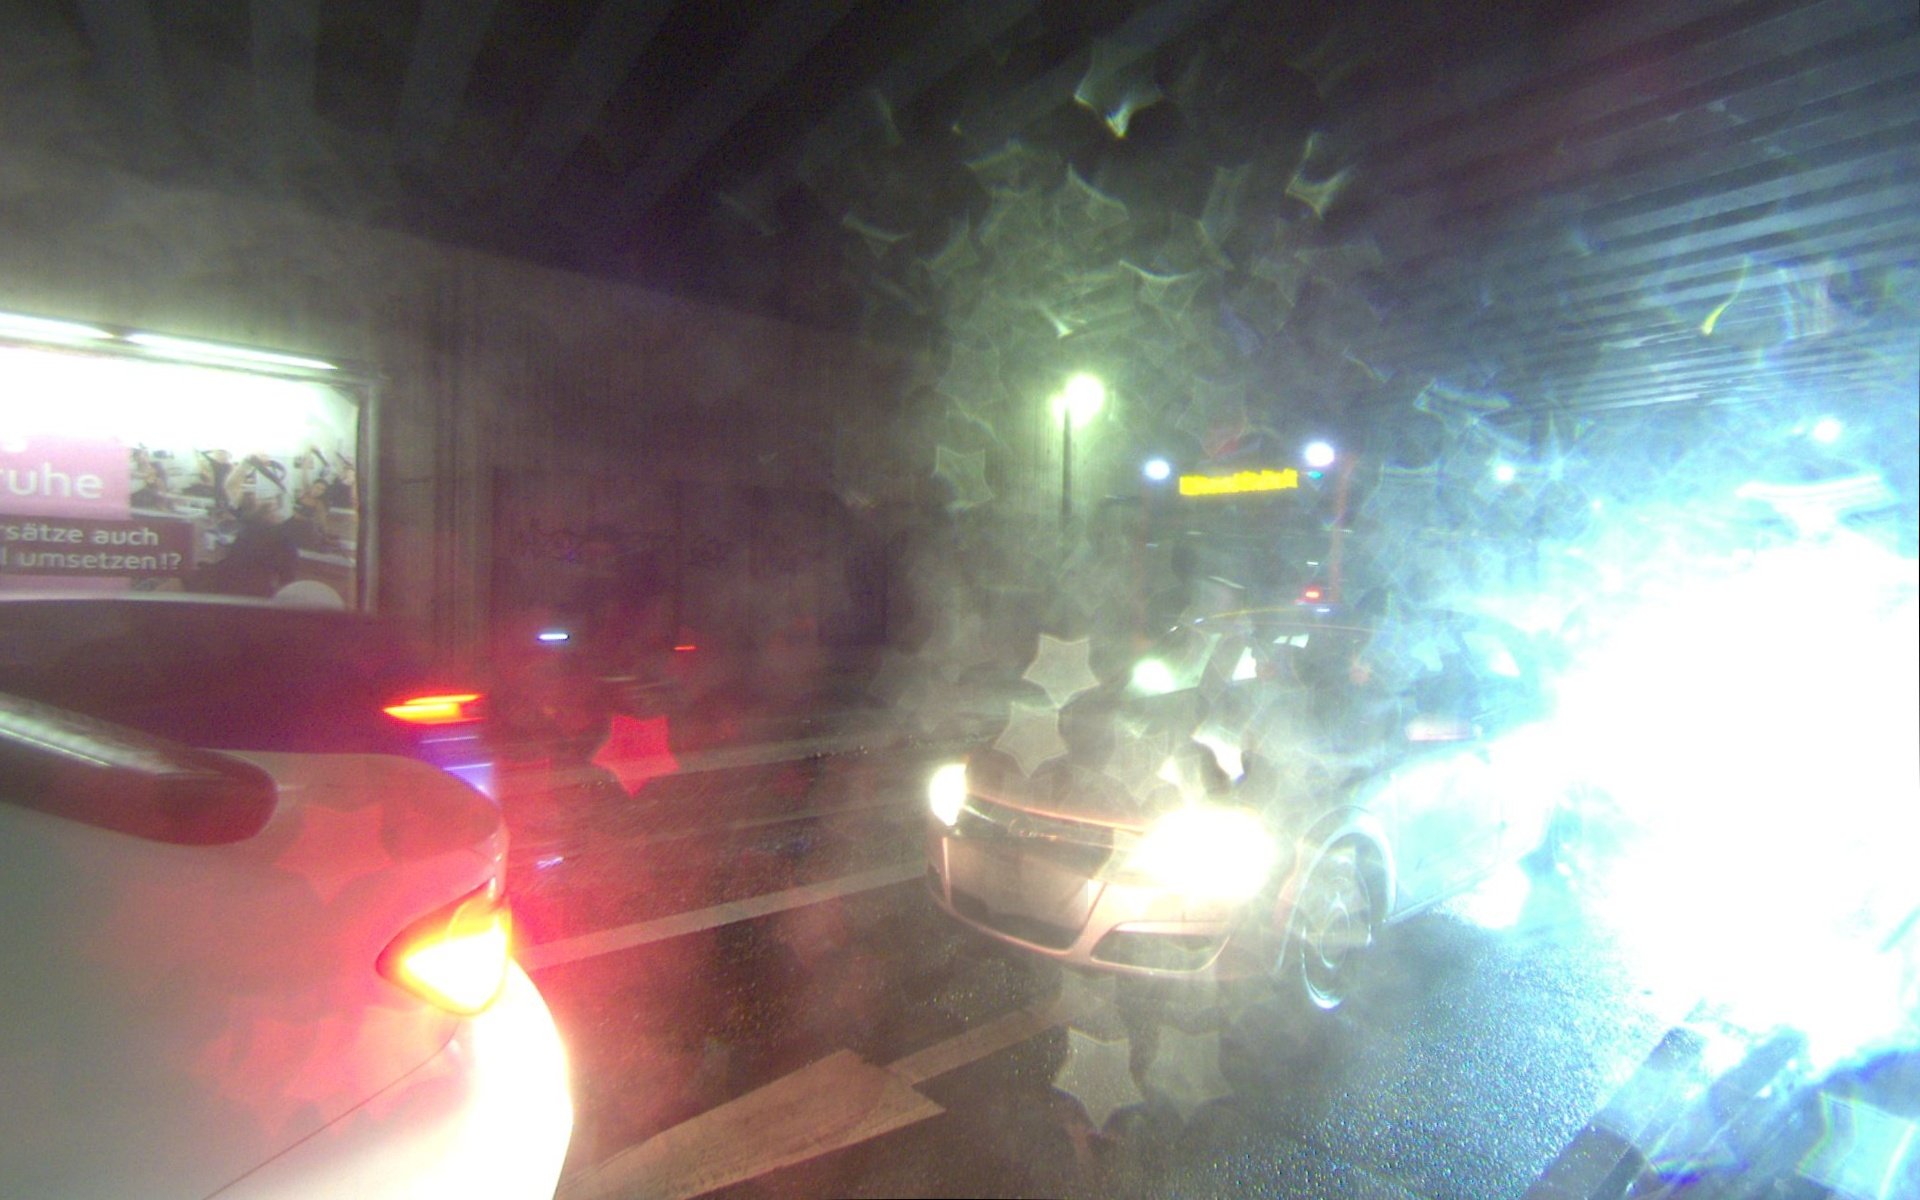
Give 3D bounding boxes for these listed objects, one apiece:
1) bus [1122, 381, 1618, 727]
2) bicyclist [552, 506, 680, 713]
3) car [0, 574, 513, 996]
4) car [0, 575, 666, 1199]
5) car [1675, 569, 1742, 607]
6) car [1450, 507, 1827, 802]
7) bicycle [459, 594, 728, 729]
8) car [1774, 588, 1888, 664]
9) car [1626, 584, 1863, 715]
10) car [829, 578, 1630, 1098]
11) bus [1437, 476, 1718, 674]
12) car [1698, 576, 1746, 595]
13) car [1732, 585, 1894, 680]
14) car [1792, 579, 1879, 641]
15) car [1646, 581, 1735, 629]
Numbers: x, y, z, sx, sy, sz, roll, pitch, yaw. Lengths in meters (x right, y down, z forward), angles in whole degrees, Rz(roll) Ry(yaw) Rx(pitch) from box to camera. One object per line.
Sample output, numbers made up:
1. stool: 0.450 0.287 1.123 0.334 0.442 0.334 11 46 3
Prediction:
1. bus: 6.144 -0.422 13.685 2.770 3.163 9.604 0 0 45
2. bicyclist: -3.169 0.079 9.318 0.885 1.784 0.798 0 0 -41
3. car: -3.988 0.621 4.013 3.699 1.449 1.751 -1 1 -45
4. car: -2.670 0.692 0.990 4.273 1.422 1.719 -1 0 -41
5. car: 31.313 -0.494 42.293 1.847 1.503 4.559 2 1 41
6. car: 6.469 0.368 9.453 4.274 2.115 1.996 -1 0 -43
7. bicycle: -3.284 0.493 9.210 2.169 1.071 0.798 -1 0 -41
8. car: 18.873 0.485 21.874 1.678 1.490 3.937 0 0 43
9. car: 10.734 0.558 13.775 3.701 1.531 1.867 -1 0 -41
10. car: 1.525 0.629 4.797 3.931 1.384 1.791 -2 2 -41
11. bus: 12.876 -0.397 20.546 2.770 3.163 9.604 0 0 45
12. car: 67.214 -1.231 89.314 1.971 1.626 3.981 0 0 15
13. car: 15.330 0.506 18.126 3.930 1.522 1.628 -1 0 -41
14. car: 24.553 0.225 28.331 1.737 1.610 3.939 0 0 42
15. car: 24.431 0.120 33.773 1.837 1.497 4.556 0 0 43
